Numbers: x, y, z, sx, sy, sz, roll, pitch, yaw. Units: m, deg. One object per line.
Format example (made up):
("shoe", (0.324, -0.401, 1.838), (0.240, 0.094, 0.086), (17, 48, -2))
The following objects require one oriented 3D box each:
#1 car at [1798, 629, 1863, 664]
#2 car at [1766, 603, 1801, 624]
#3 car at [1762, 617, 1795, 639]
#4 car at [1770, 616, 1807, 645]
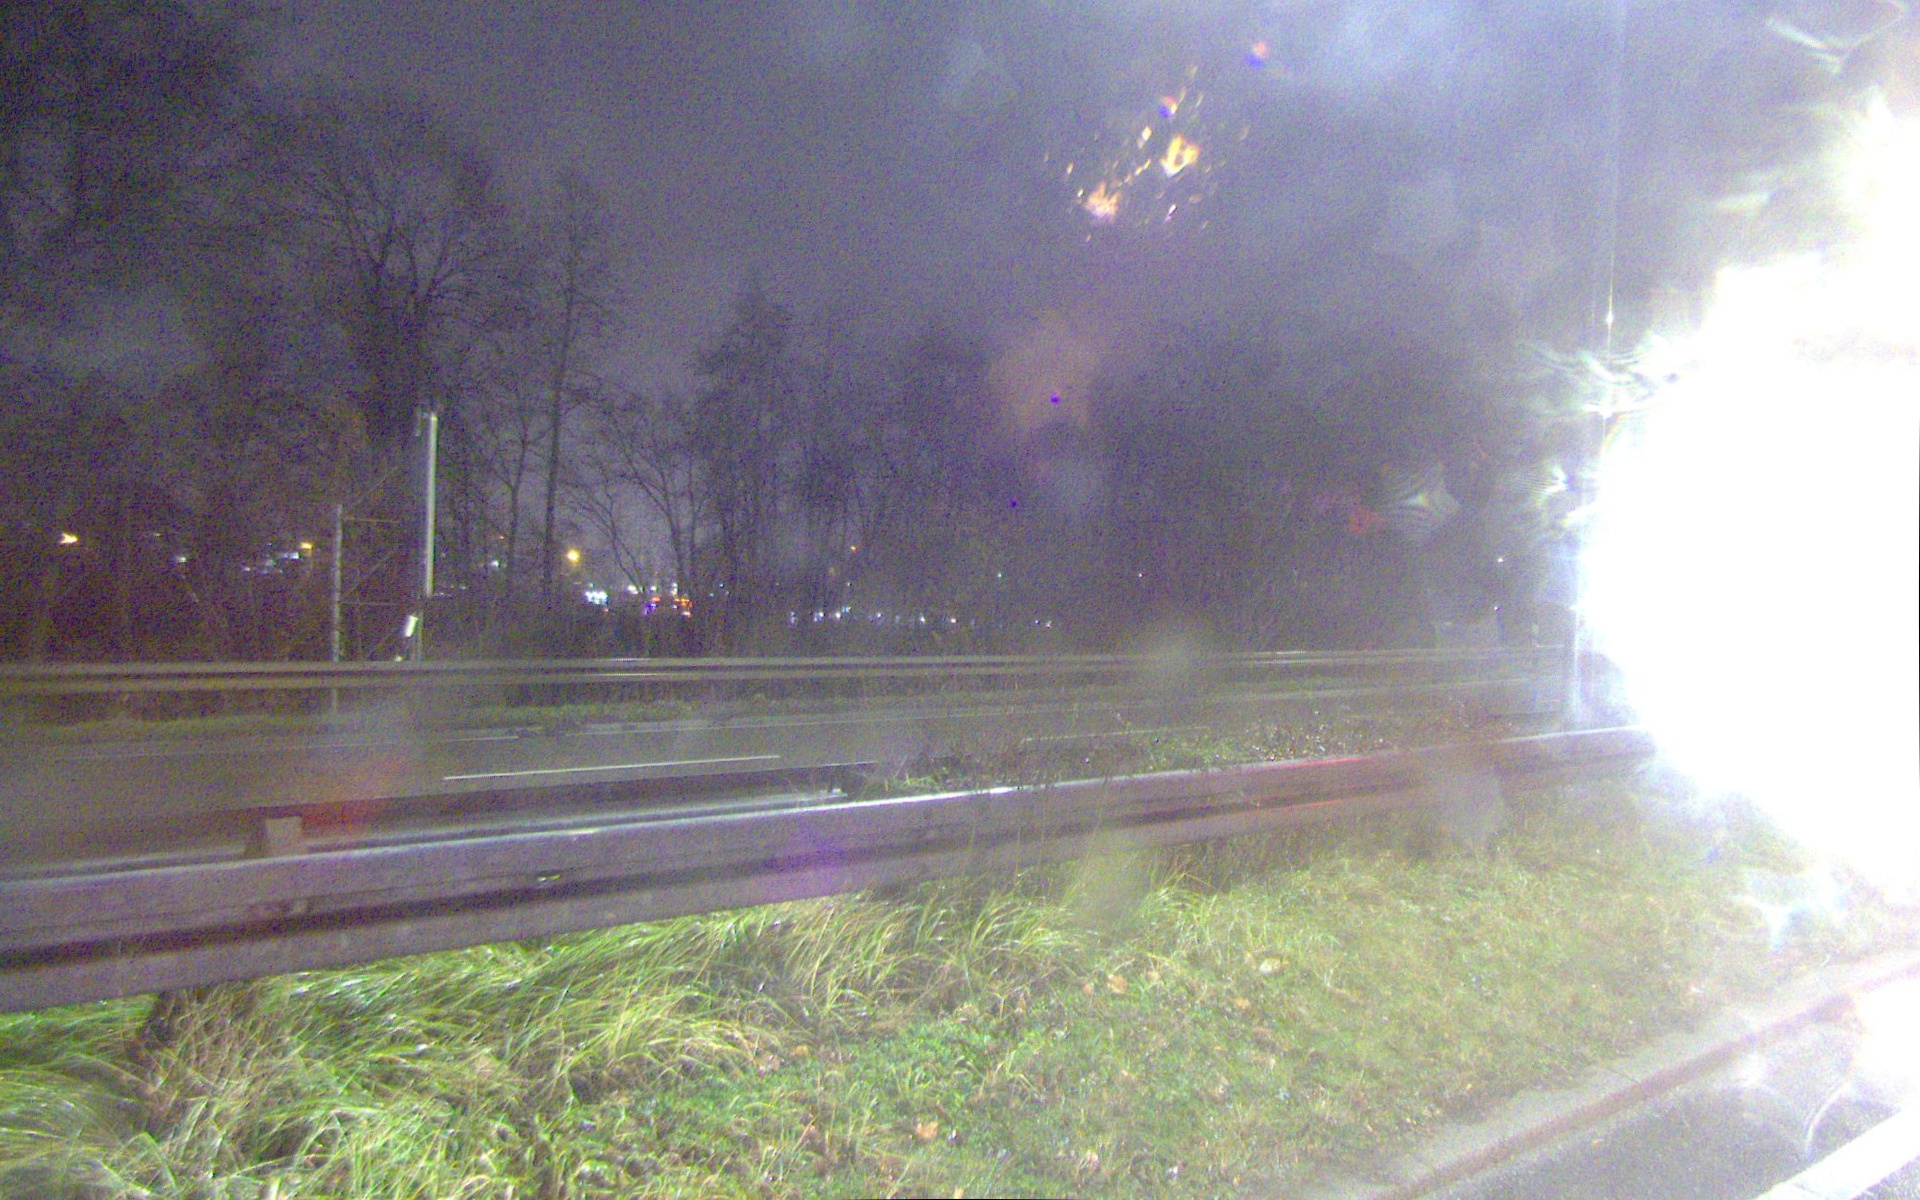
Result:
("car", (40.300, 2.118, 46.470), (1.973, 1.528, 4.809), (0, -1, 45))
("car", (58.900, 0.976, 71.882), (1.605, 1.387, 3.710), (2, 0, 35))
("car", (64.339, 2.183, 78.990), (1.743, 1.653, 4.234), (1, 0, 36))
("car", (53.798, 1.998, 65.247), (1.736, 1.762, 3.983), (2, 0, 39))
